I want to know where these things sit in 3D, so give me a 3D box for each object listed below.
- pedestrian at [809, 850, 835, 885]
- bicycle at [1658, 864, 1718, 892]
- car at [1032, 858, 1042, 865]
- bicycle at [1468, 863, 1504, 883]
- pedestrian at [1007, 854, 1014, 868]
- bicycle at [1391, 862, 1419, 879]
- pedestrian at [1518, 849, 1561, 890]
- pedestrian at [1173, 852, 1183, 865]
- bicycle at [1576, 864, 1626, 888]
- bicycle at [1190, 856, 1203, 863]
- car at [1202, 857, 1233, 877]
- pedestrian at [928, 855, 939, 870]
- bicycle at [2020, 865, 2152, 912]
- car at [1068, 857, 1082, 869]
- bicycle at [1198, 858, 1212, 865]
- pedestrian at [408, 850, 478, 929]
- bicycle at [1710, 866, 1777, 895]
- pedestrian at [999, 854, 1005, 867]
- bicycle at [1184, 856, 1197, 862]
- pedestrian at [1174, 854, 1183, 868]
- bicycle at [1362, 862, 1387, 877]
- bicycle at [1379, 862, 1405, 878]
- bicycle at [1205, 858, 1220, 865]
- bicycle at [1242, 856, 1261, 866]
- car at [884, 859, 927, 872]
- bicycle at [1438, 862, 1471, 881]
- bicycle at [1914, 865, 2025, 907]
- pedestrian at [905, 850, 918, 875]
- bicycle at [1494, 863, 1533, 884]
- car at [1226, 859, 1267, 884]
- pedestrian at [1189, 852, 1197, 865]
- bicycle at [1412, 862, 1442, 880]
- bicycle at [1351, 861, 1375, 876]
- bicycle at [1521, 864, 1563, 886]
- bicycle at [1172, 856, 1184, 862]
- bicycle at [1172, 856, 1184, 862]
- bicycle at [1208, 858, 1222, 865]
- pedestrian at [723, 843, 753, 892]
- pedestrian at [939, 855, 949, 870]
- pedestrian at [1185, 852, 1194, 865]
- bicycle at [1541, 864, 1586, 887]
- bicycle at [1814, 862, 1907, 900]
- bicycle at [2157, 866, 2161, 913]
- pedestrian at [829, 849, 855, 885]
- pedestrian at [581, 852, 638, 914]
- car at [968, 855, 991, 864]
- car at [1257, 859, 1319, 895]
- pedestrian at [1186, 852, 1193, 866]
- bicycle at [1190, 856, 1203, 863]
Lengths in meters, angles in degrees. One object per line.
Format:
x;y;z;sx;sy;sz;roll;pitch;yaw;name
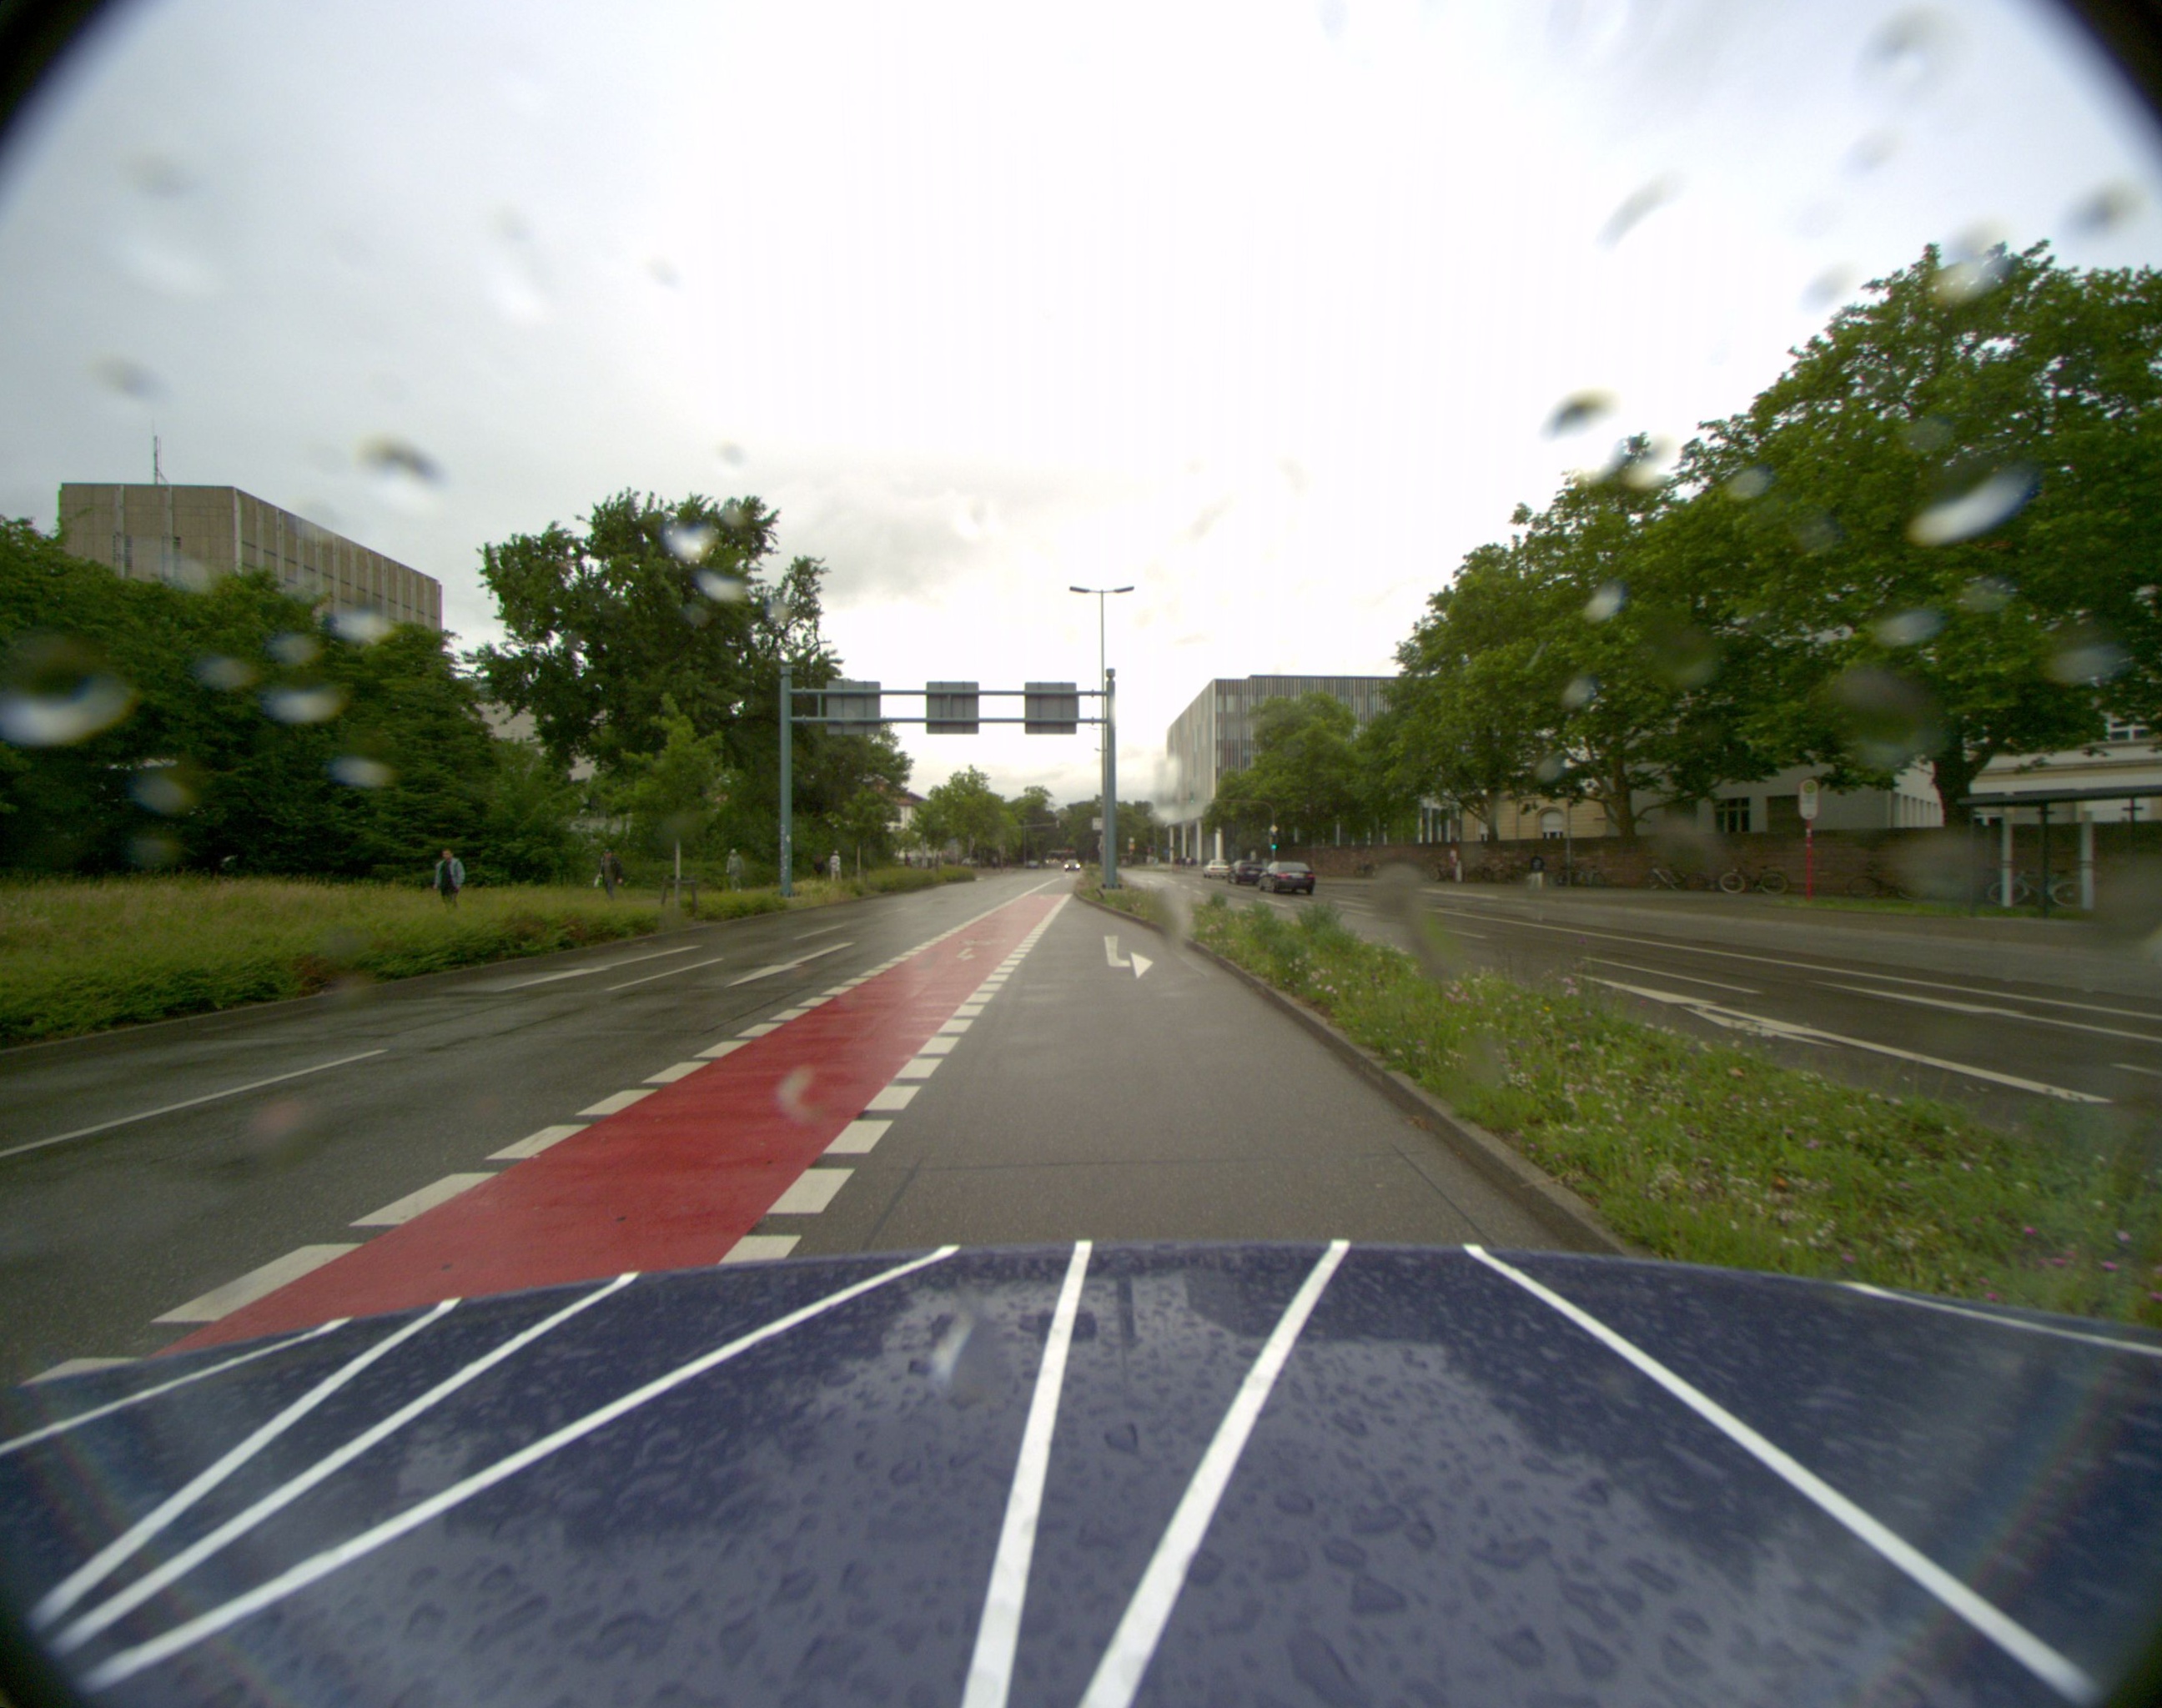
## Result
-12.769;0.665;37.458;0.935;1.693;0.829;-2;-2;5;pedestrian
23.084;0.895;28.936;0.733;0.977;1.699;-1;0;-10;bicycle
-7.797;1.311;134.027;1.661;1.259;4.106;0;0;-1;car
20.779;0.956;38.977;0.733;0.977;1.699;-1;0;-10;bicycle
-9.324;0.875;100.374;0.625;1.813;0.785;0;0;-22;pedestrian
19.472;0.982;45.660;0.733;0.977;1.863;-1;0;-6;bicycle
19.098;0.625;31.650;0.871;1.686;1.399;-1;0;-5;pedestrian
13.526;0.676;105.972;0.941;1.813;0.921;0;0;-30;pedestrian
21.791;0.913;31.877;0.733;0.977;1.699;-1;0;-10;bicycle
20.688;0.972;135.607;2.282;1.215;0.599;0;0;10;bicycle
10.268;0.967;57.324;1.600;1.407;4.524;1;0;1;car
-15.405;0.906;79.313;0.878;1.597;0.862;0;0;-27;pedestrian
25.907;0.872;19.650;0.575;1.129;1.989;0;0;-15;bicycle
-0.735;1.115;94.285;1.661;1.356;4.106;0;0;-1;car
20.606;1.211;126.310;2.287;1.215;0.598;0;0;-12;bicycle
-14.818;0.813;17.665;0.935;1.786;0.829;0;0;7;pedestrian
23.417;0.927;26.877;0.733;0.977;1.699;-1;0;-10;bicycle
-10.373;0.851;99.943;0.625;1.813;0.786;0;0;-14;pedestrian
20.040;0.916;138.574;2.282;1.215;0.599;0;0;10;bicycle
12.154;0.862;94.485;0.788;1.813;0.794;0;0;-23;pedestrian
19.136;0.996;49.520;0.733;0.977;1.699;-1;0;-10;bicycle
19.575;0.989;47.841;0.733;0.977;1.699;-1;0;-10;bicycle
21.406;1.200;123.810;2.287;1.215;0.598;0;0;-12;bicycle
21.946;0.920;97.862;2.287;1.215;0.598;0;0;-12;bicycle
-19.244;1.243;83.447;4.388;1.330;1.772;0;3;-3;car
20.484;0.966;41.727;0.733;0.977;1.699;-1;0;-10;bicycle
25.179;0.875;21.589;0.575;1.129;1.988;0;0;-19;bicycle
-12.593;0.624;56.480;0.731;1.848;0.851;0;0;7;pedestrian
21.182;0.948;37.272;0.733;0.977;1.699;-1;0;-10;bicycle
9.916;1.014;45.754;1.627;1.407;4.066;1;0;1;car
15.283;0.630;103.752;0.788;1.813;0.623;0;0;-23;pedestrian
19.952;0.975;43.830;0.733;0.977;1.699;-1;0;-10;bicycle
19.129;1.003;51.544;0.733;0.977;1.699;-1;0;-10;bicycle
21.566;0.956;35.577;0.733;0.977;1.699;-1;0;-10;bicycle
19.496;0.966;153.032;2.282;1.215;0.599;0;0;10;bicycle
19.273;0.958;150.529;2.282;1.215;0.599;0;0;10;bicycle
21.738;1.197;123.195;2.287;1.215;0.598;0;0;-12;bicycle
-14.158;0.558;31.361;0.792;2.002;0.829;0;0;7;pedestrian
-14.296;0.902;79.468;0.878;1.597;0.862;0;0;-22;pedestrian
15.044;0.671;105.685;0.940;1.813;0.922;0;0;-23;pedestrian
21.719;0.952;34.232;0.733;0.977;1.699;-1;0;-10;bicycle
24.469;0.813;23.898;0.575;1.129;1.988;0;0;-19;bicycle
26.517;0.856;17.458;0.575;1.129;1.989;0;0;-15;bicycle
-11.711;0.636;37.237;0.935;1.710;0.829;-2;-2;5;pedestrian
-13.563;0.824;21.873;0.935;1.737;1.046;0;0;7;pedestrian
-19.771;1.040;147.597;4.426;1.861;1.637;0;0;-7;car
9.773;1.029;36.291;1.813;1.531;4.704;1;0;2;car
14.953;0.699;104.715;0.788;1.813;0.623;0;0;-23;pedestrian
20.524;0.901;134.692;2.282;1.215;0.599;0;0;10;bicycle
